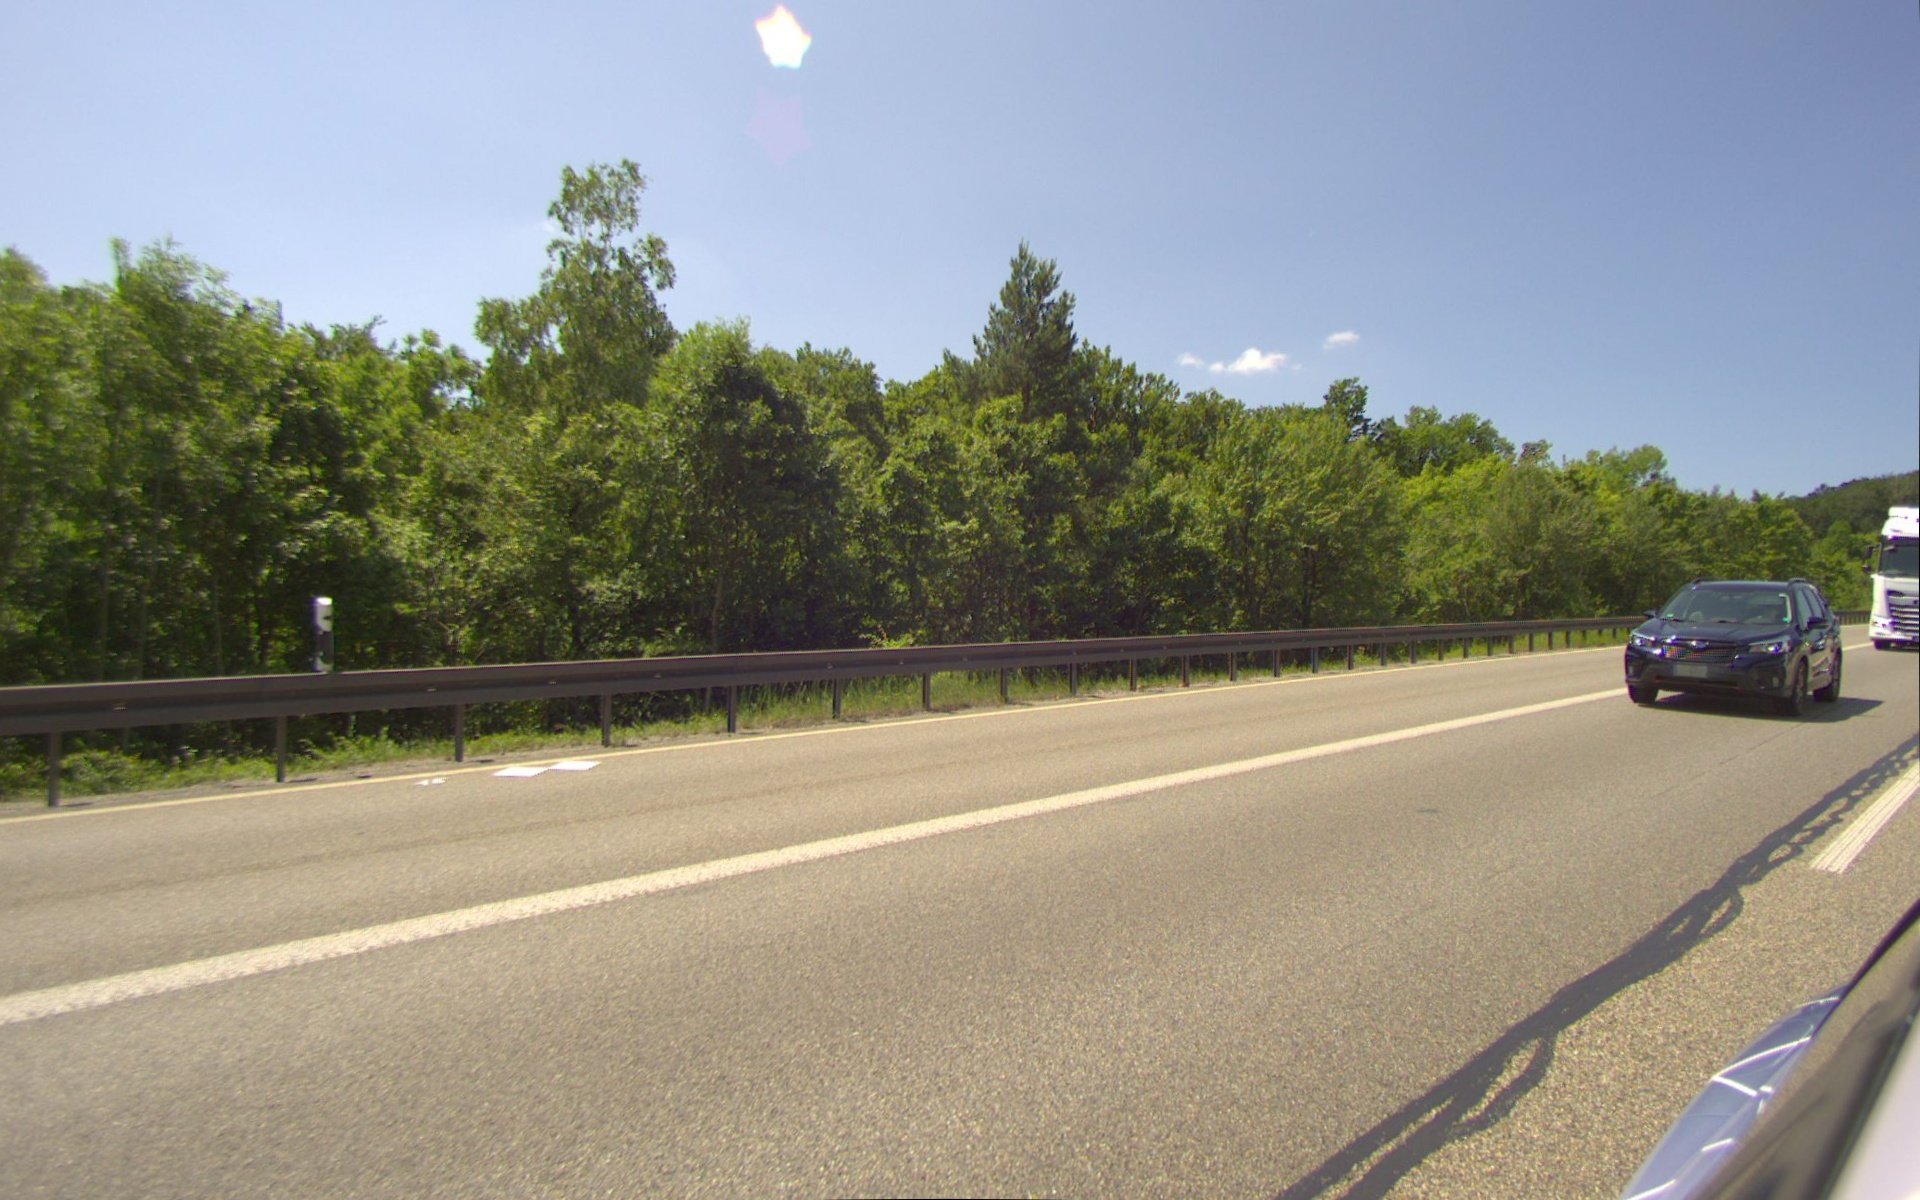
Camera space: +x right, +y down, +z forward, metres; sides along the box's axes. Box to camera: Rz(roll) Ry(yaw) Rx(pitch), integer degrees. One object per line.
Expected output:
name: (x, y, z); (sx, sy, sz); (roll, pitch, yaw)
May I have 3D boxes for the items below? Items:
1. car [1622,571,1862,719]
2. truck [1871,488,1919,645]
car: (10.721, 0.481, 13.779); (4.131, 1.688, 1.815); (-1, 2, -41)
truck: (32.111, -0.883, 32.045); (15.981, 4.221, 2.788); (0, 1, -41)
